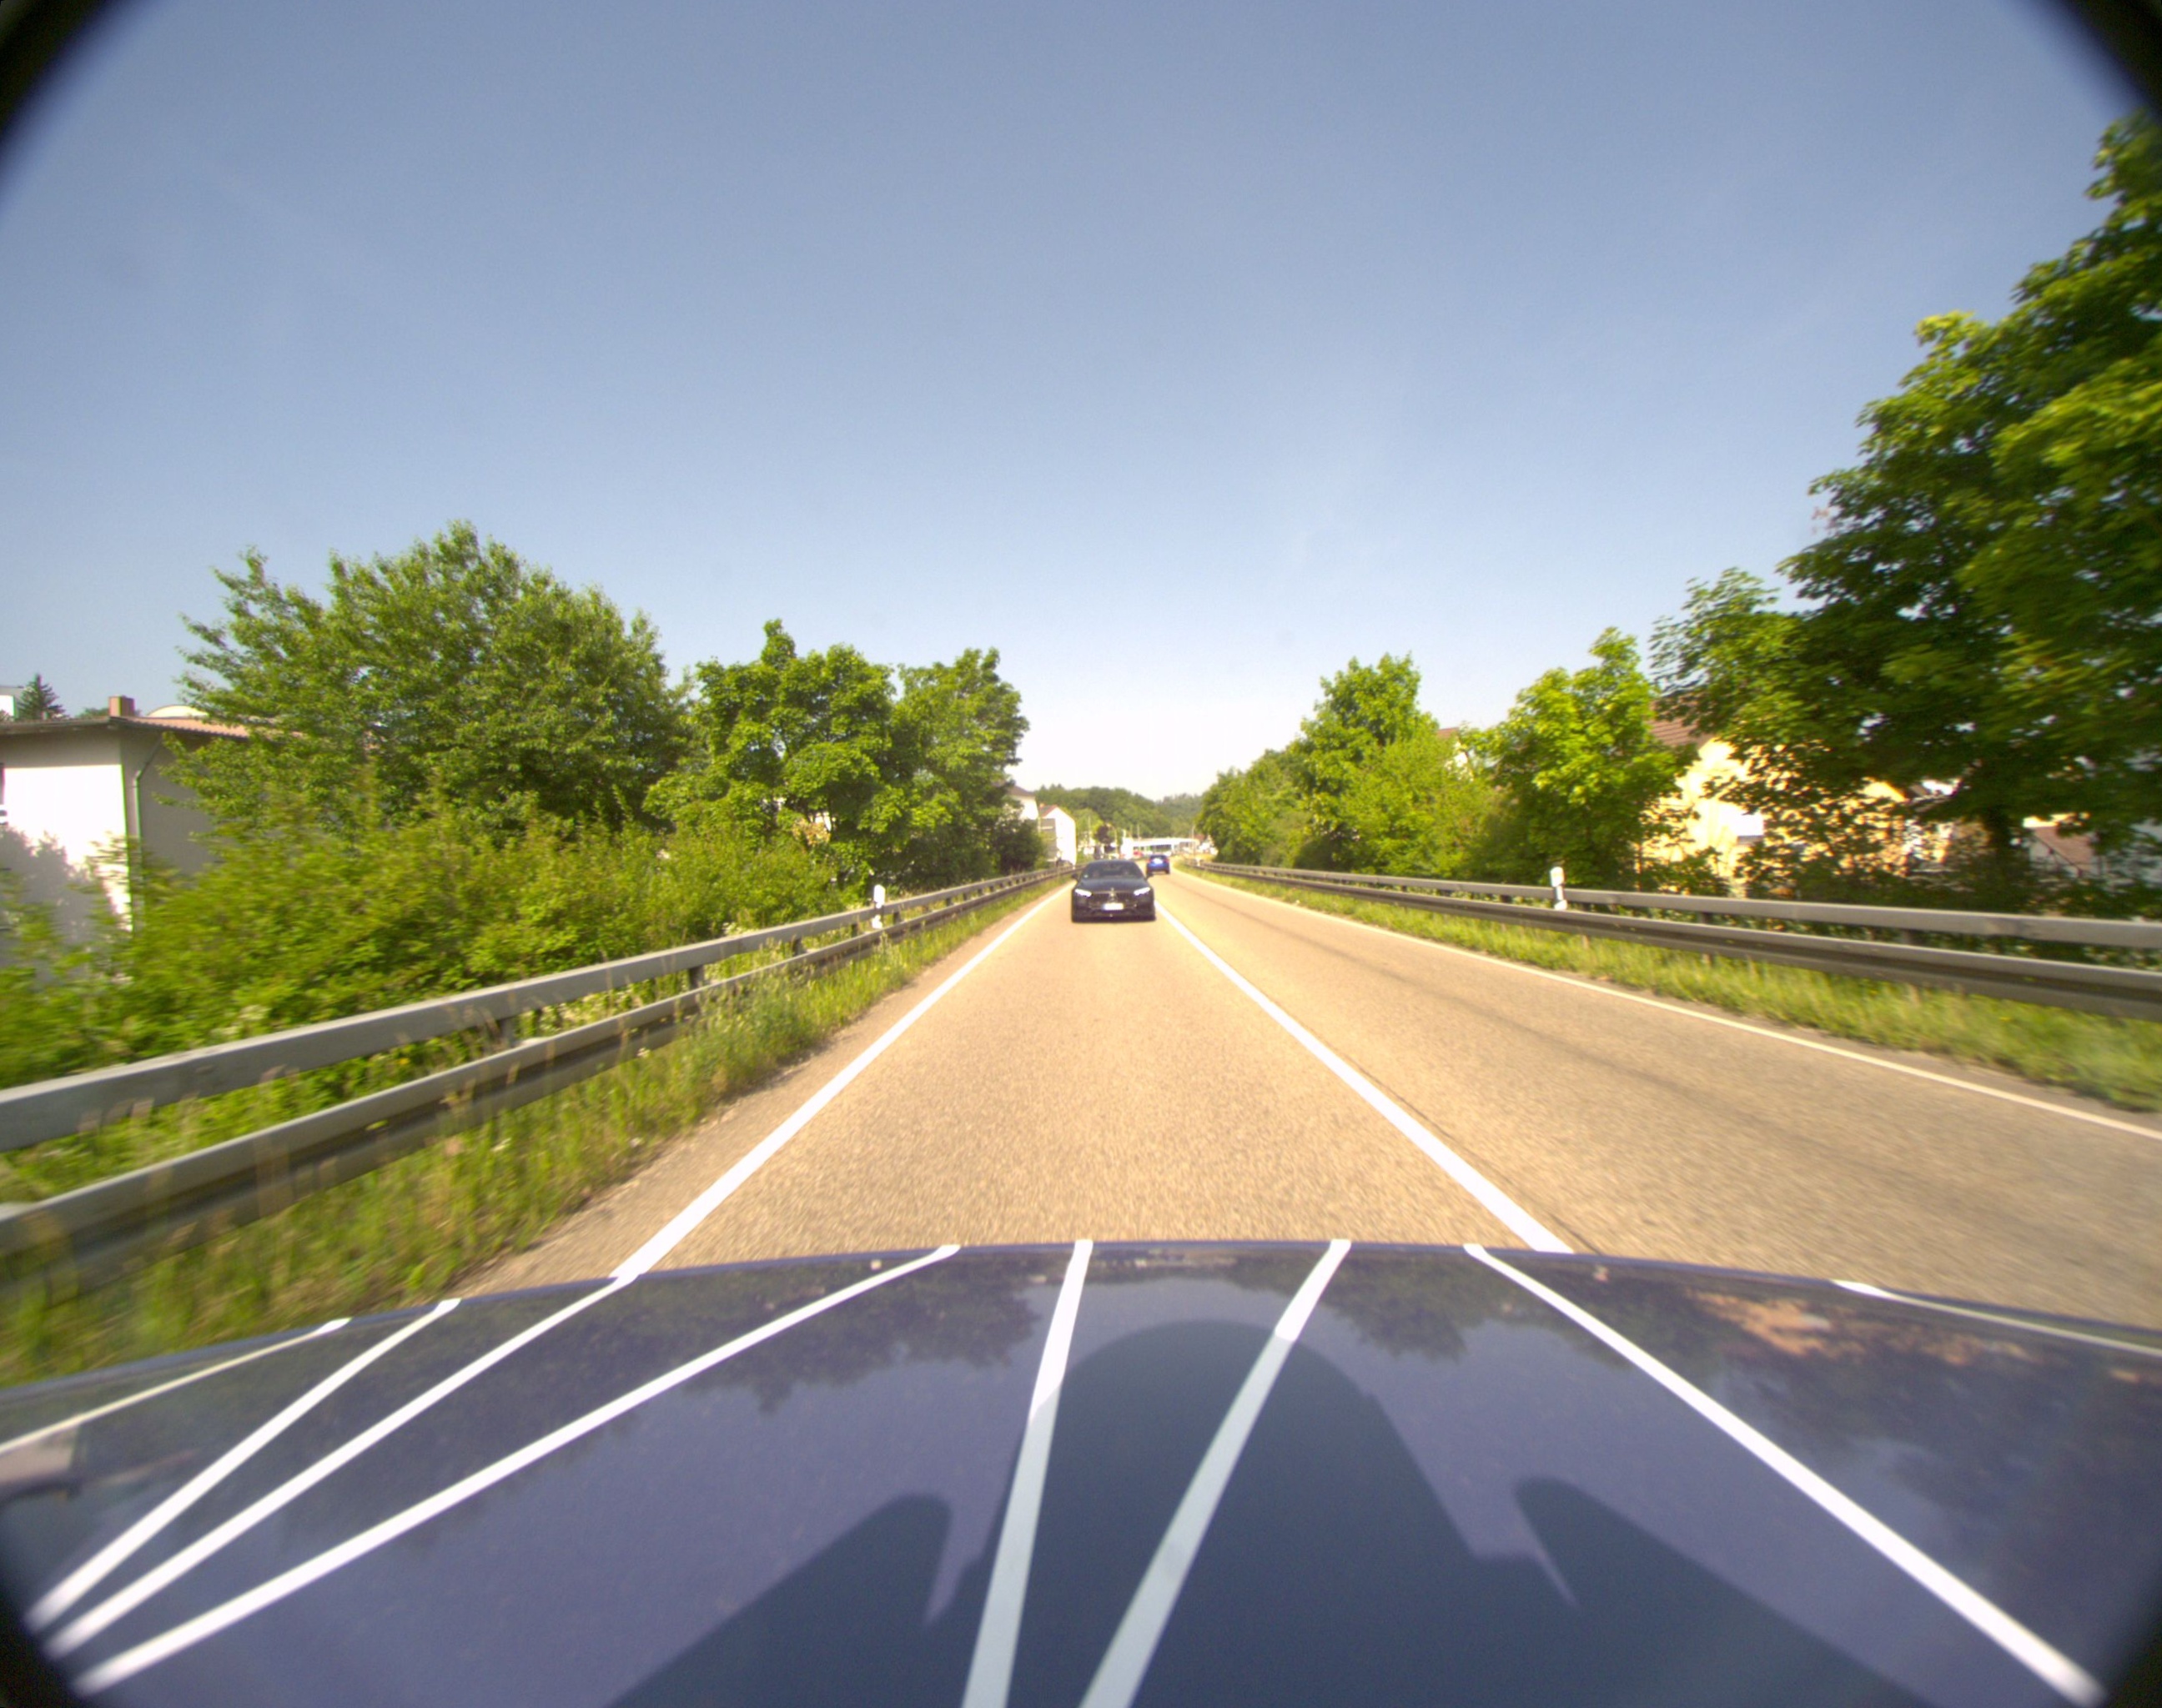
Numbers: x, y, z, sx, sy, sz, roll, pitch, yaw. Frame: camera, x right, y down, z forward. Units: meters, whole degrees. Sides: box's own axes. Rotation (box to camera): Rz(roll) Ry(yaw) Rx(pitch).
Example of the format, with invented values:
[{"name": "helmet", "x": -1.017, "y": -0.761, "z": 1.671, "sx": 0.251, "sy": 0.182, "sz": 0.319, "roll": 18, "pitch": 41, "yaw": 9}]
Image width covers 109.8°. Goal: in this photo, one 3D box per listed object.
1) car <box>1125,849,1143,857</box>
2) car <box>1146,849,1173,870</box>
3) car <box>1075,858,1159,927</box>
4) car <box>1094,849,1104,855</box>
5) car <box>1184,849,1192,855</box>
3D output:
[{"name": "car", "x": 11.891, "y": -0.259, "z": 170.424, "sx": 3.996, "sy": 1.441, "sz": 1.765, "roll": -5, "pitch": 1, "yaw": 3}, {"name": "car", "x": 6.013, "y": 0.390, "z": 58.601, "sx": 1.812, "sy": 1.552, "sz": 3.992, "roll": 0, "pitch": 1, "yaw": 2}, {"name": "car", "x": 0.777, "y": 0.858, "z": 18.757, "sx": 1.716, "sy": 1.382, "sz": 4.145, "roll": -1, "pitch": 2, "yaw": -2}, {"name": "car", "x": 4.923, "y": -0.504, "z": 206.882, "sx": 1.914, "sy": 1.397, "sz": 4.521, "roll": -1, "pitch": 1, "yaw": -7}, {"name": "car", "x": 26.067, "y": -0.570, "z": 184.655, "sx": 1.761, "sy": 1.402, "sz": 3.991, "roll": 0, "pitch": 1, "yaw": 6}]
